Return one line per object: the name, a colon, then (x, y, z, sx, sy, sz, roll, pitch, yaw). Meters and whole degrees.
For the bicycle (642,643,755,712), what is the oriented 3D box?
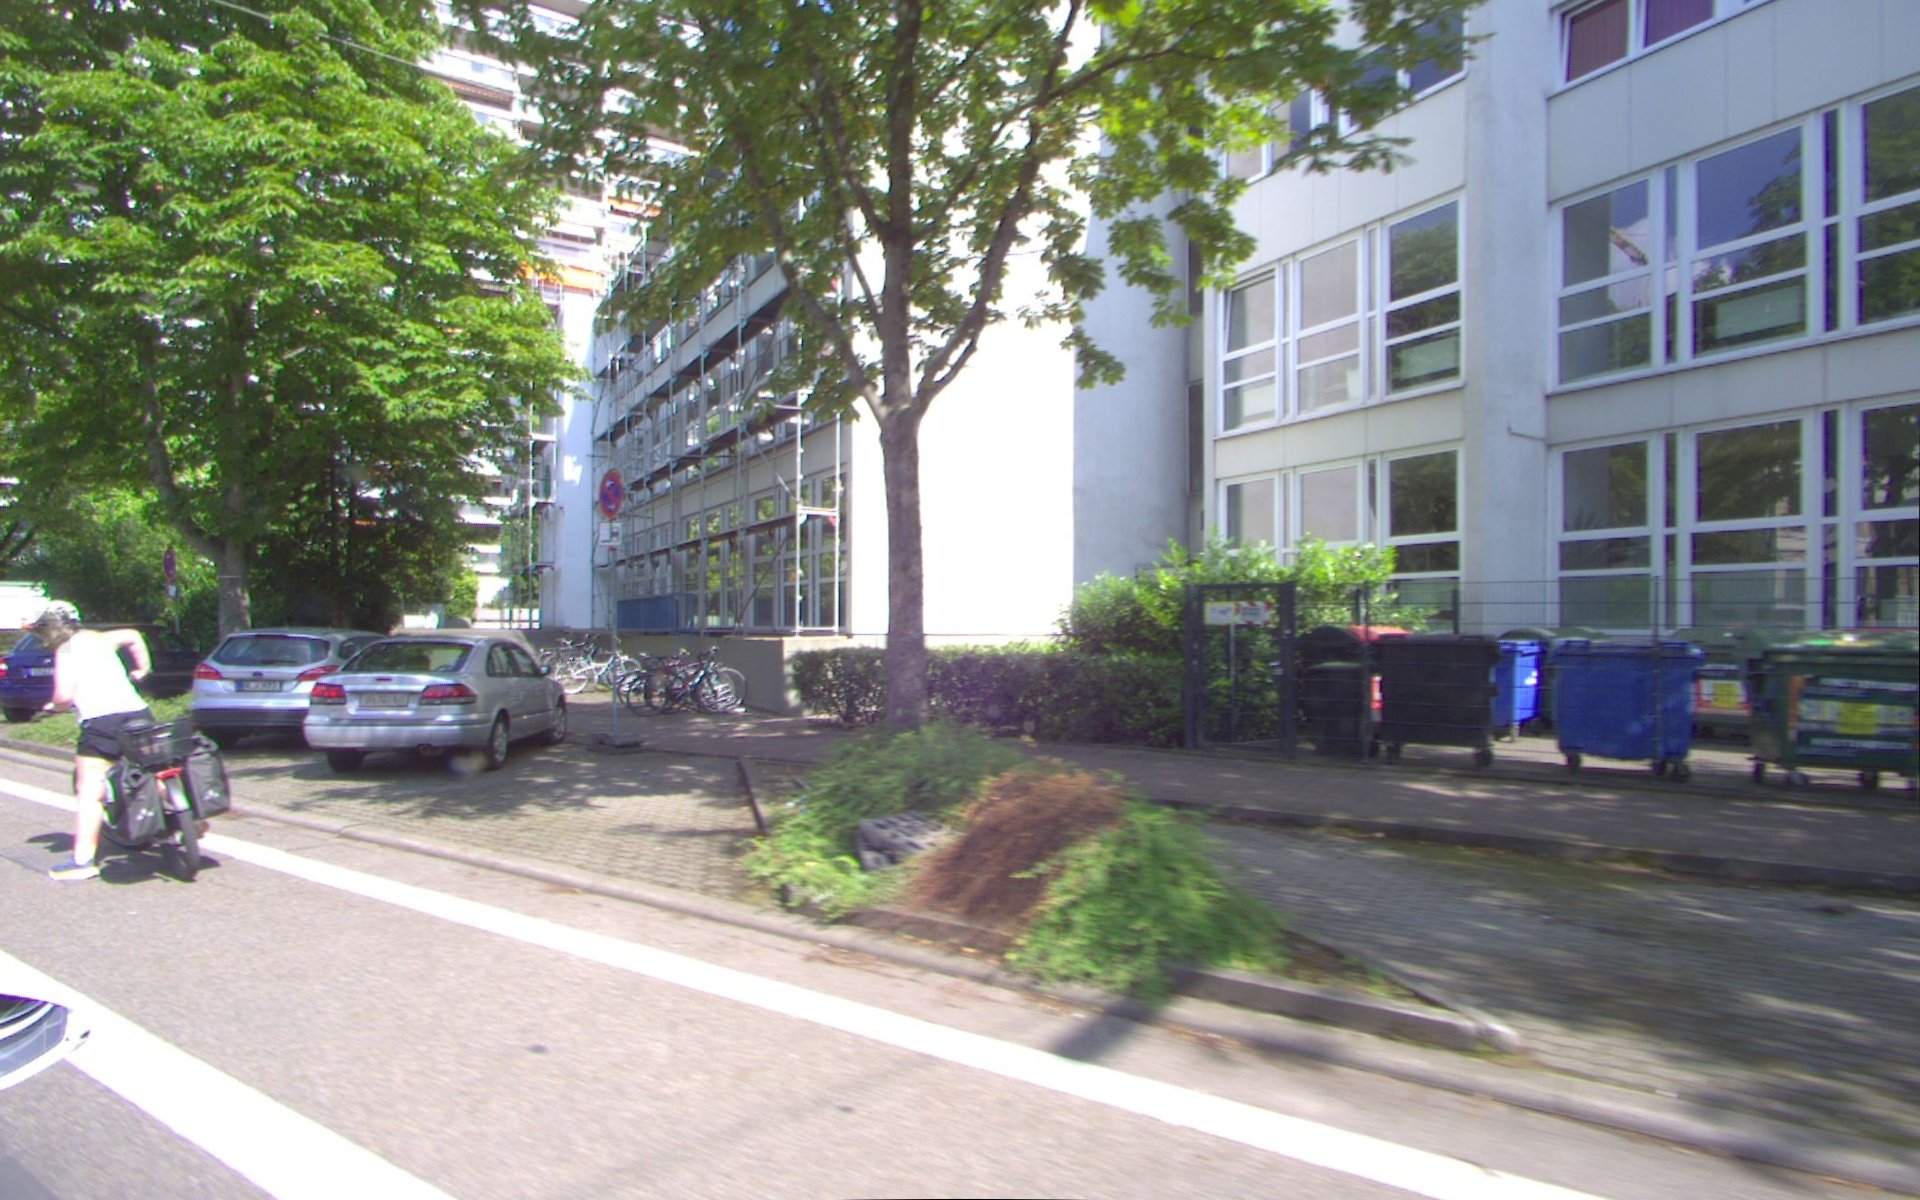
bicycle: (-4.591, 1.342, 17.625, 1.873, 1.110, 0.449, 0, 1, -27)

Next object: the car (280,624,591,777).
car: (-5.804, 1.023, 11.724, 1.690, 1.438, 4.243, 1, -1, -5)

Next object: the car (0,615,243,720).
car: (-13.984, 1.033, 16.910, 1.586, 1.505, 3.995, 0, 0, -13)

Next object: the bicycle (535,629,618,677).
bicycle: (-9.115, 1.248, 23.826, 1.805, 1.110, 0.449, 0, 0, -27)

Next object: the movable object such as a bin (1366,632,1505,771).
movable object such as a bin: (5.051, 1.029, 10.604, 1.218, 1.352, 1.274, -1, -3, 31)

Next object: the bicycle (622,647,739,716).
bicycle: (-4.734, 1.363, 17.019, 1.873, 1.067, 0.449, 0, 1, -27)

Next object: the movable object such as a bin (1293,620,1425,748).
movable object such as a bin: (4.973, 1.025, 12.498, 1.250, 1.500, 0.932, 2, -1, -30)

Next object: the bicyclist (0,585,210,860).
bicyclist: (-5.483, 0.722, 6.357, 1.072, 1.548, 0.887, -1, -3, 39)

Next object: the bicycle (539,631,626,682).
bicycle: (-8.582, 1.276, 22.764, 1.805, 1.110, 0.449, 1, 0, -27)

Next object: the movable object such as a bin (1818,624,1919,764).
movable object such as a bin: (10.758, 1.034, 11.388, 1.362, 1.466, 1.254, -1, 1, -36)

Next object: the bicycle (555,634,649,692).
bicycle: (-7.410, 1.283, 20.759, 1.804, 1.111, 0.449, 0, 3, -27)

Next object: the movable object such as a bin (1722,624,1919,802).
movable object such as a bin: (7.885, 0.981, 9.048, 1.330, 1.455, 1.276, 1, -3, 25)

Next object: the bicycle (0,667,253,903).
bicycle: (-5.346, 1.049, 6.317, 2.109, 1.140, 0.872, 1, -2, 39)

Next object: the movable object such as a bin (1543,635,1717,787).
movable object such as a bin: (6.519, 1.038, 9.862, 1.339, 1.352, 1.274, -1, -3, 31)

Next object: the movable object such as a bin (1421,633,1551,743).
movable object such as a bin: (7.251, 1.169, 13.808, 1.201, 1.356, 1.252, -1, 1, -42)

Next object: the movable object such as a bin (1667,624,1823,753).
movable object such as a bin: (9.976, 1.068, 12.739, 1.362, 1.466, 1.254, -1, 1, -36)

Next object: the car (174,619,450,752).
car: (-8.383, 1.055, 13.384, 1.621, 1.493, 3.805, 2, -2, -9)

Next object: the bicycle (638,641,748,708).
bicycle: (-4.810, 1.330, 18.073, 1.873, 1.110, 0.449, 0, 1, -27)
